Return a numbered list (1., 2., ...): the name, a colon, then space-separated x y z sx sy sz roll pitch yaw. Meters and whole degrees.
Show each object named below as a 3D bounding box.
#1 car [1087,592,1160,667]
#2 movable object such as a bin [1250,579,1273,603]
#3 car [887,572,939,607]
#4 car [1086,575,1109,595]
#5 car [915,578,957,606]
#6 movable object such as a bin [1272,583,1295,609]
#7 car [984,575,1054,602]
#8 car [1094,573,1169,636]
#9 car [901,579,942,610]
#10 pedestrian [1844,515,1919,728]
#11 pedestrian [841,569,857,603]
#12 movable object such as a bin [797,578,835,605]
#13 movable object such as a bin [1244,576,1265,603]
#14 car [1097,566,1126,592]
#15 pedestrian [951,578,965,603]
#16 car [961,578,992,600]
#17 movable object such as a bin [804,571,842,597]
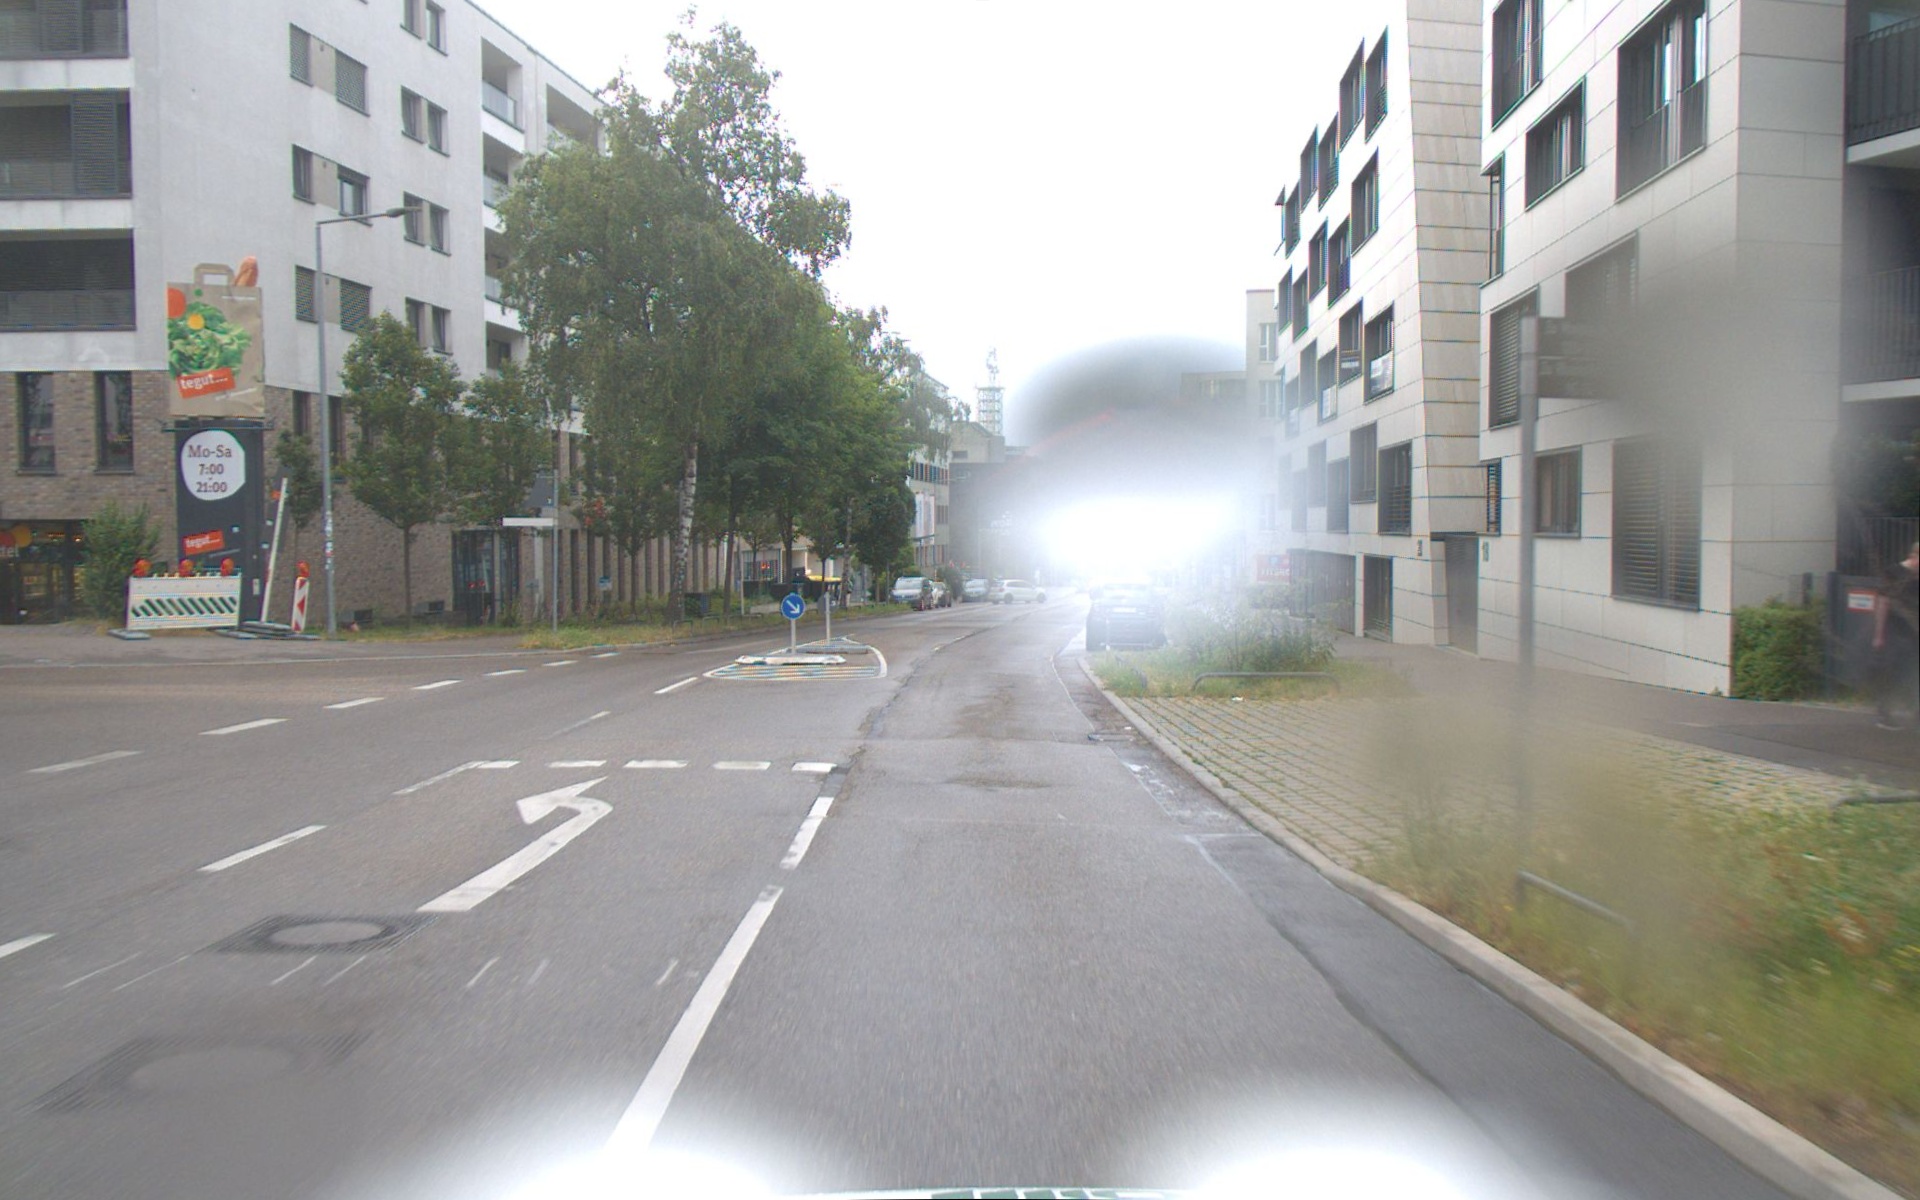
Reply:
1. car: 3.690 0.616 36.939 1.513 1.504 3.664 0 1 7
2. movable object such as a bin: 16.950 -0.488 93.005 1.208 1.343 1.193 -1 0 8
3. car: -2.358 -0.558 83.881 2.033 1.637 4.689 -1 1 5
4. car: 12.778 -1.363 153.820 2.096 1.758 4.002 1 0 4
5. car: -1.336 -0.434 93.817 1.758 1.543 4.249 1 0 8
6. movable object such as a bin: 18.316 -0.230 93.750 1.234 1.427 1.113 0 0 9
7. car: 3.659 -0.735 102.721 3.949 1.604 1.976 -1 1 -35
8. car: 4.385 0.104 42.190 1.769 1.510 4.498 1 0 6
9. car: -2.055 -0.321 89.137 1.735 1.628 4.035 0 1 6
10. pedestrian: 8.434 0.180 14.621 0.805 1.827 0.778 -1 0 0
11. pedestrian: -5.555 -0.703 83.123 0.693 1.712 0.957 0 1 2
12. movable object such as a bin: -8.272 -0.493 95.341 1.984 1.454 1.290 2 0 3
13. movable object such as a bin: 16.907 -0.622 94.981 1.148 1.529 1.014 0 0 9
14. car: 10.648 -1.477 116.281 1.951 1.780 3.675 0 1 7
15. pedestrian: -0.148 -0.677 116.561 0.717 1.738 0.898 0 -1 -20
16. car: 1.166 -0.743 113.276 1.873 1.507 4.359 1 0 4
17. movable object such as a bin: -8.005 -0.929 96.659 2.011 1.448 1.317 1 0 3
